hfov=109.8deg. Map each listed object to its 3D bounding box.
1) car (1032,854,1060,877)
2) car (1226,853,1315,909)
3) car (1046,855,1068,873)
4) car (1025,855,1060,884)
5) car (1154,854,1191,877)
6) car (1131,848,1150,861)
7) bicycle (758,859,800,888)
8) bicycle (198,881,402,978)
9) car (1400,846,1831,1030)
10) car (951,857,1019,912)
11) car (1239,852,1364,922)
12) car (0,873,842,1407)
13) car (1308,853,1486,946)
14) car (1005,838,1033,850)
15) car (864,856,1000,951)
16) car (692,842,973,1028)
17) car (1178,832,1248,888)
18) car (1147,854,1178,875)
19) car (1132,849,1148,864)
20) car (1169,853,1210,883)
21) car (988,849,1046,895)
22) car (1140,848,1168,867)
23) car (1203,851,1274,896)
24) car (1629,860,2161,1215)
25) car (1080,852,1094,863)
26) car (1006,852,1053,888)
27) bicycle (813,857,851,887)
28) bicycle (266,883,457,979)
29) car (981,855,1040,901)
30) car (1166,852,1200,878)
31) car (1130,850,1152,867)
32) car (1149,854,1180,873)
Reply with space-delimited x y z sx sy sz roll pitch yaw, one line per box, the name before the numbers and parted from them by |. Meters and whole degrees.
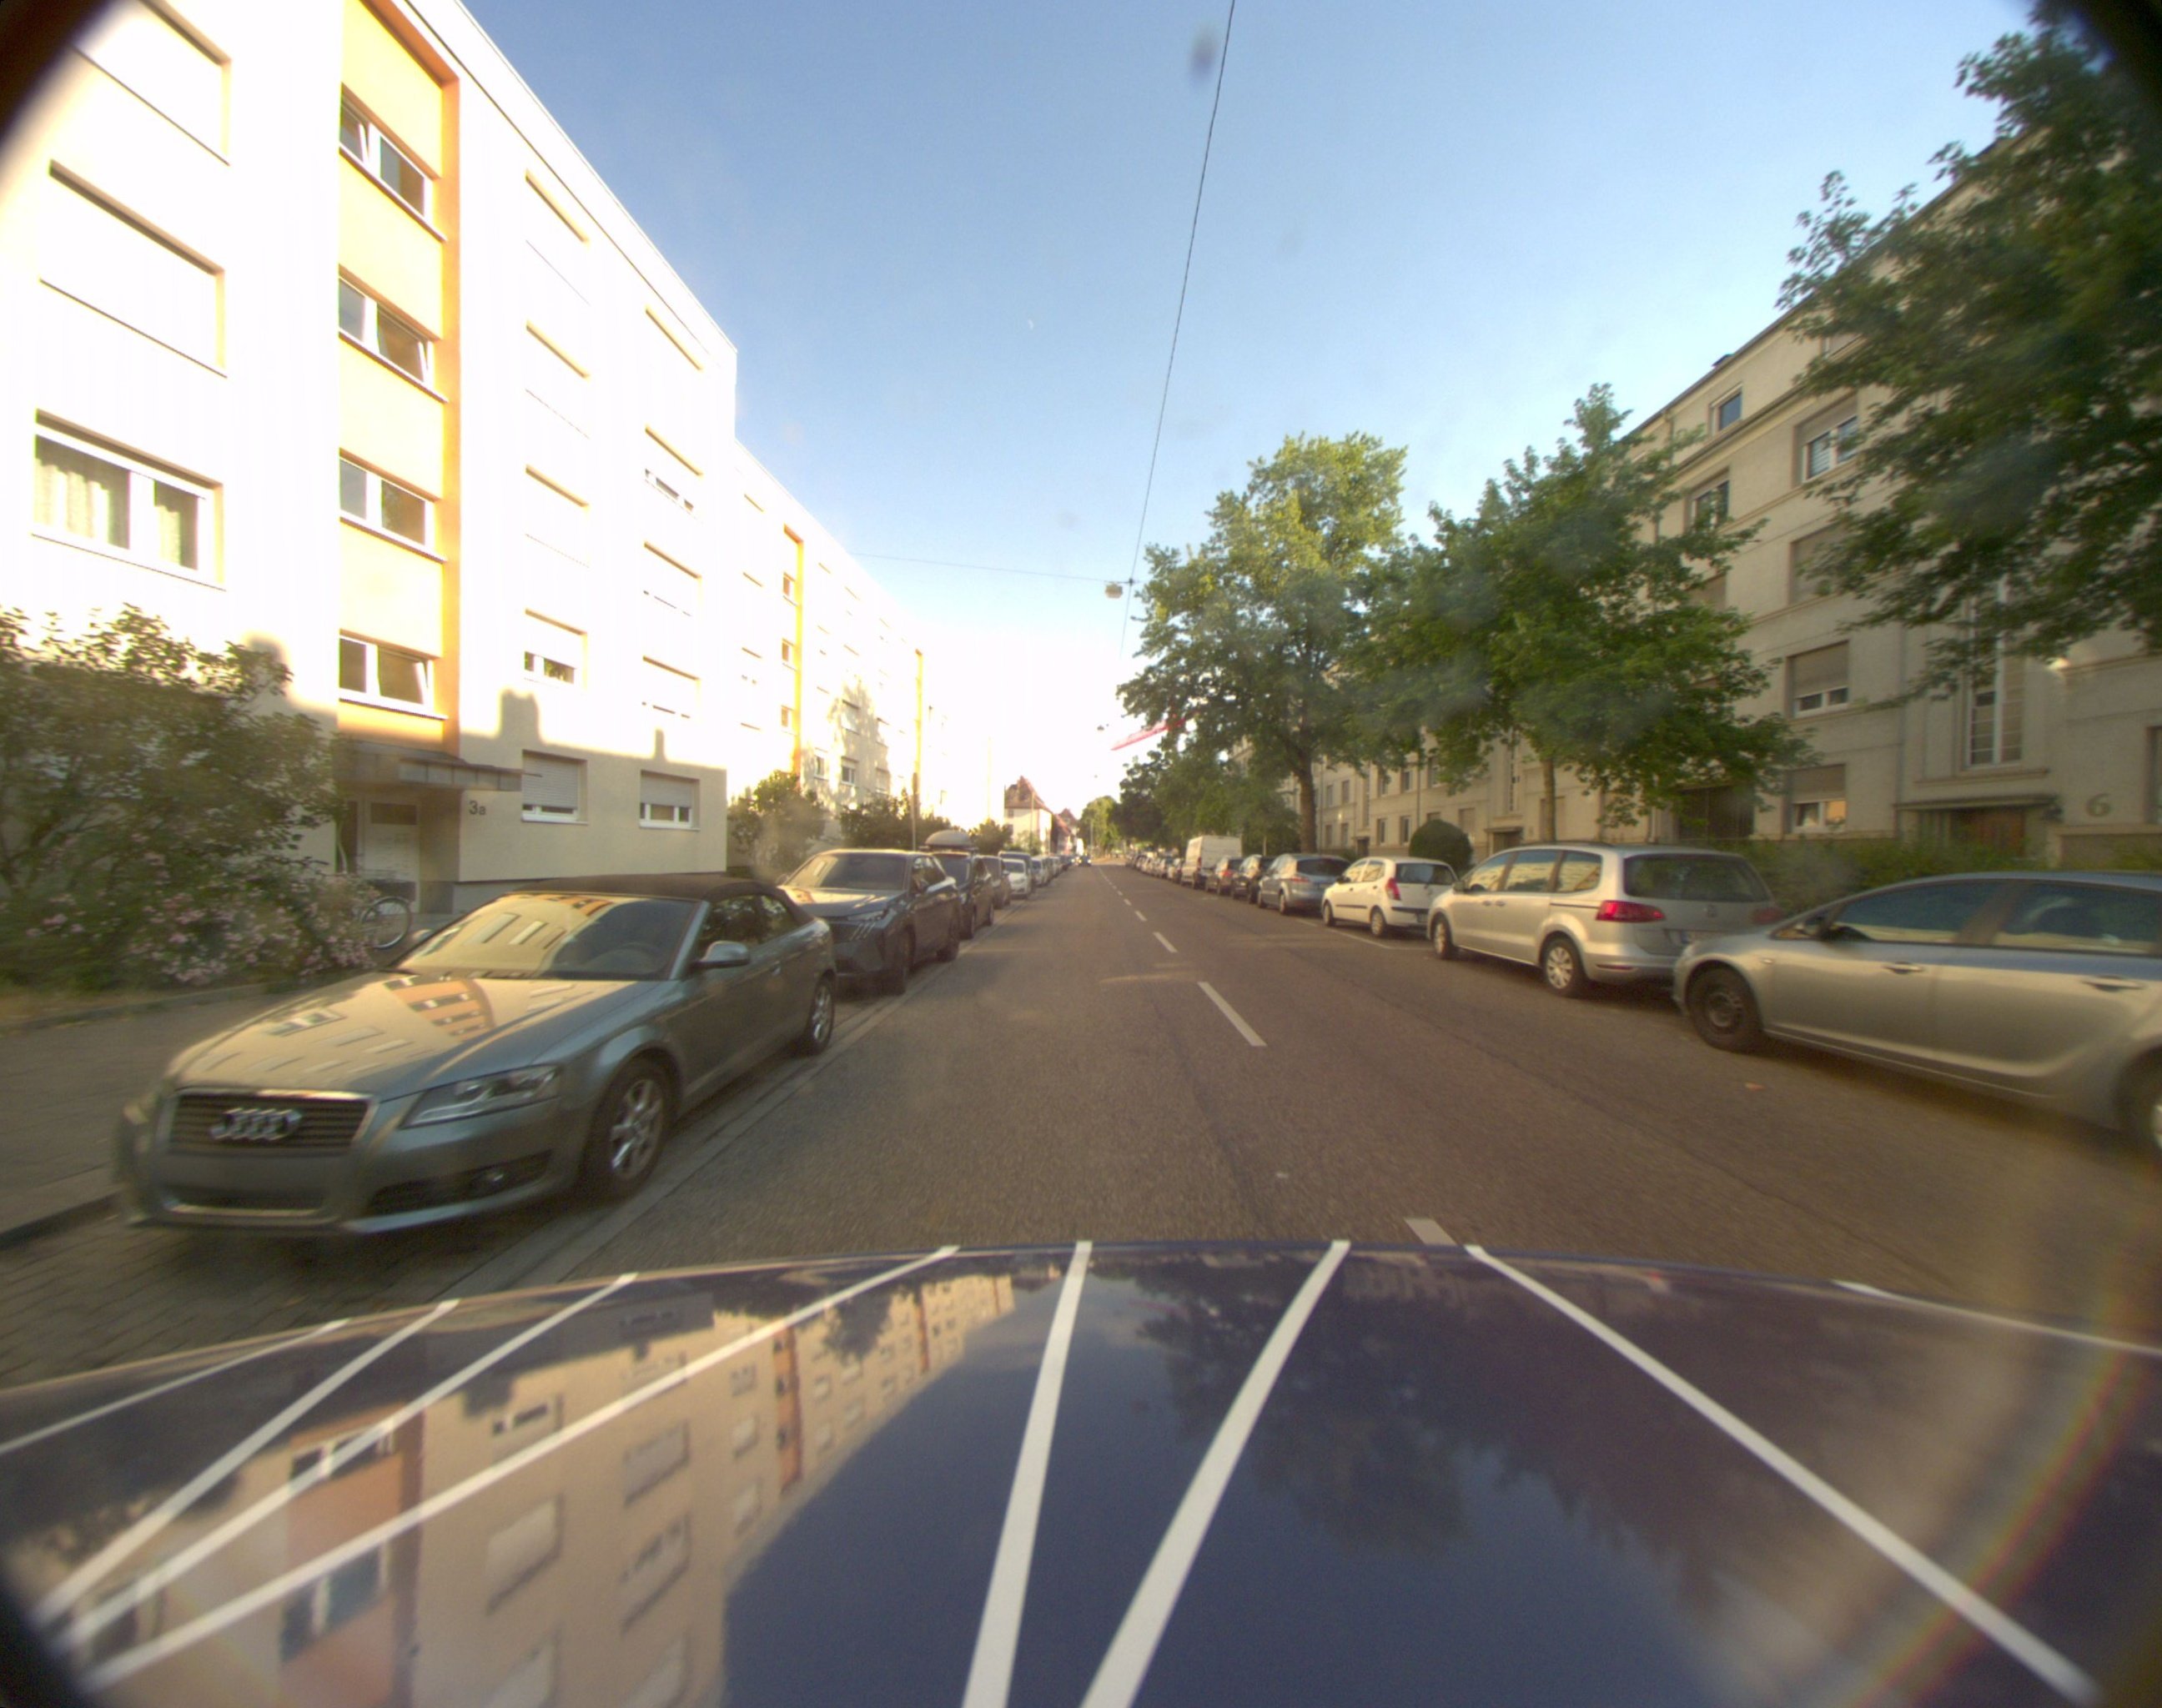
car | -2.540 0.811 55.982 1.878 1.434 3.998 -4 1 -1
car | 6.316 0.829 25.884 1.875 1.549 4.364 4 1 0
car | -2.102 0.893 67.537 1.776 1.445 3.999 1 1 0
car | -2.390 0.940 48.203 1.967 1.596 4.278 -1 1 1
car | 6.523 0.796 54.468 1.878 1.348 4.652 -4 1 -1
car | 7.205 0.053 92.400 1.878 1.543 3.999 -1 1 -1
bicycle | -11.493 0.733 29.034 0.601 1.075 2.393 1 -1 1
bicycle | -9.914 0.914 9.766 0.613 1.015 1.833 -1 1 3
car | 6.000 0.757 9.543 1.921 1.668 4.973 0 1 0
car | -2.900 0.871 23.735 1.610 1.486 4.041 0 1 0
car | 5.824 0.802 20.788 1.875 1.549 5.056 5 0 0
car | -2.908 0.953 4.385 1.745 1.465 3.999 2 1 0
car | 6.146 0.798 15.359 1.875 1.549 4.100 1 1 0
car | -9.484 -1.563 115.925 3.996 1.784 2.000 -1 1 1
car | -2.865 0.880 15.600 1.902 1.641 4.342 0 0 0
car | -2.761 0.762 9.744 1.932 1.649 4.676 4 1 0
car | 6.336 0.216 37.306 2.364 2.432 6.163 2 1 1
car | 6.720 0.866 63.120 1.878 1.543 3.998 3 1 -3
car | 7.782 0.303 101.116 1.846 1.886 4.486 1 1 1
car | 6.117 0.742 43.355 1.712 1.565 3.818 0 1 -1
car | -2.765 0.807 34.000 2.029 1.739 4.768 -5 -2 0
car | 6.593 0.270 69.390 2.009 1.543 4.470 -1 1 -1
car | 6.375 0.734 31.156 1.962 1.549 4.345 2 1 0
car | 5.751 0.836 4.423 1.875 1.549 4.497 1 0 0
car | 0.796 0.452 102.263 1.775 1.492 3.674 0 0 2
car | -2.561 0.774 38.602 1.841 1.493 4.171 4 1 2
bicycle | -9.370 0.679 28.678 0.601 1.075 2.393 1 -1 1
bicycle | -9.186 0.940 9.820 0.613 1.015 1.833 -1 1 3
car | -2.600 0.849 29.097 1.683 1.407 4.723 4 1 0
car | 6.634 0.700 49.527 1.711 1.565 3.260 2 1 0
car | 6.729 0.451 85.480 1.878 1.749 4.687 0 1 -2
car | 6.558 0.716 60.086 1.878 1.348 3.999 -1 1 -1
